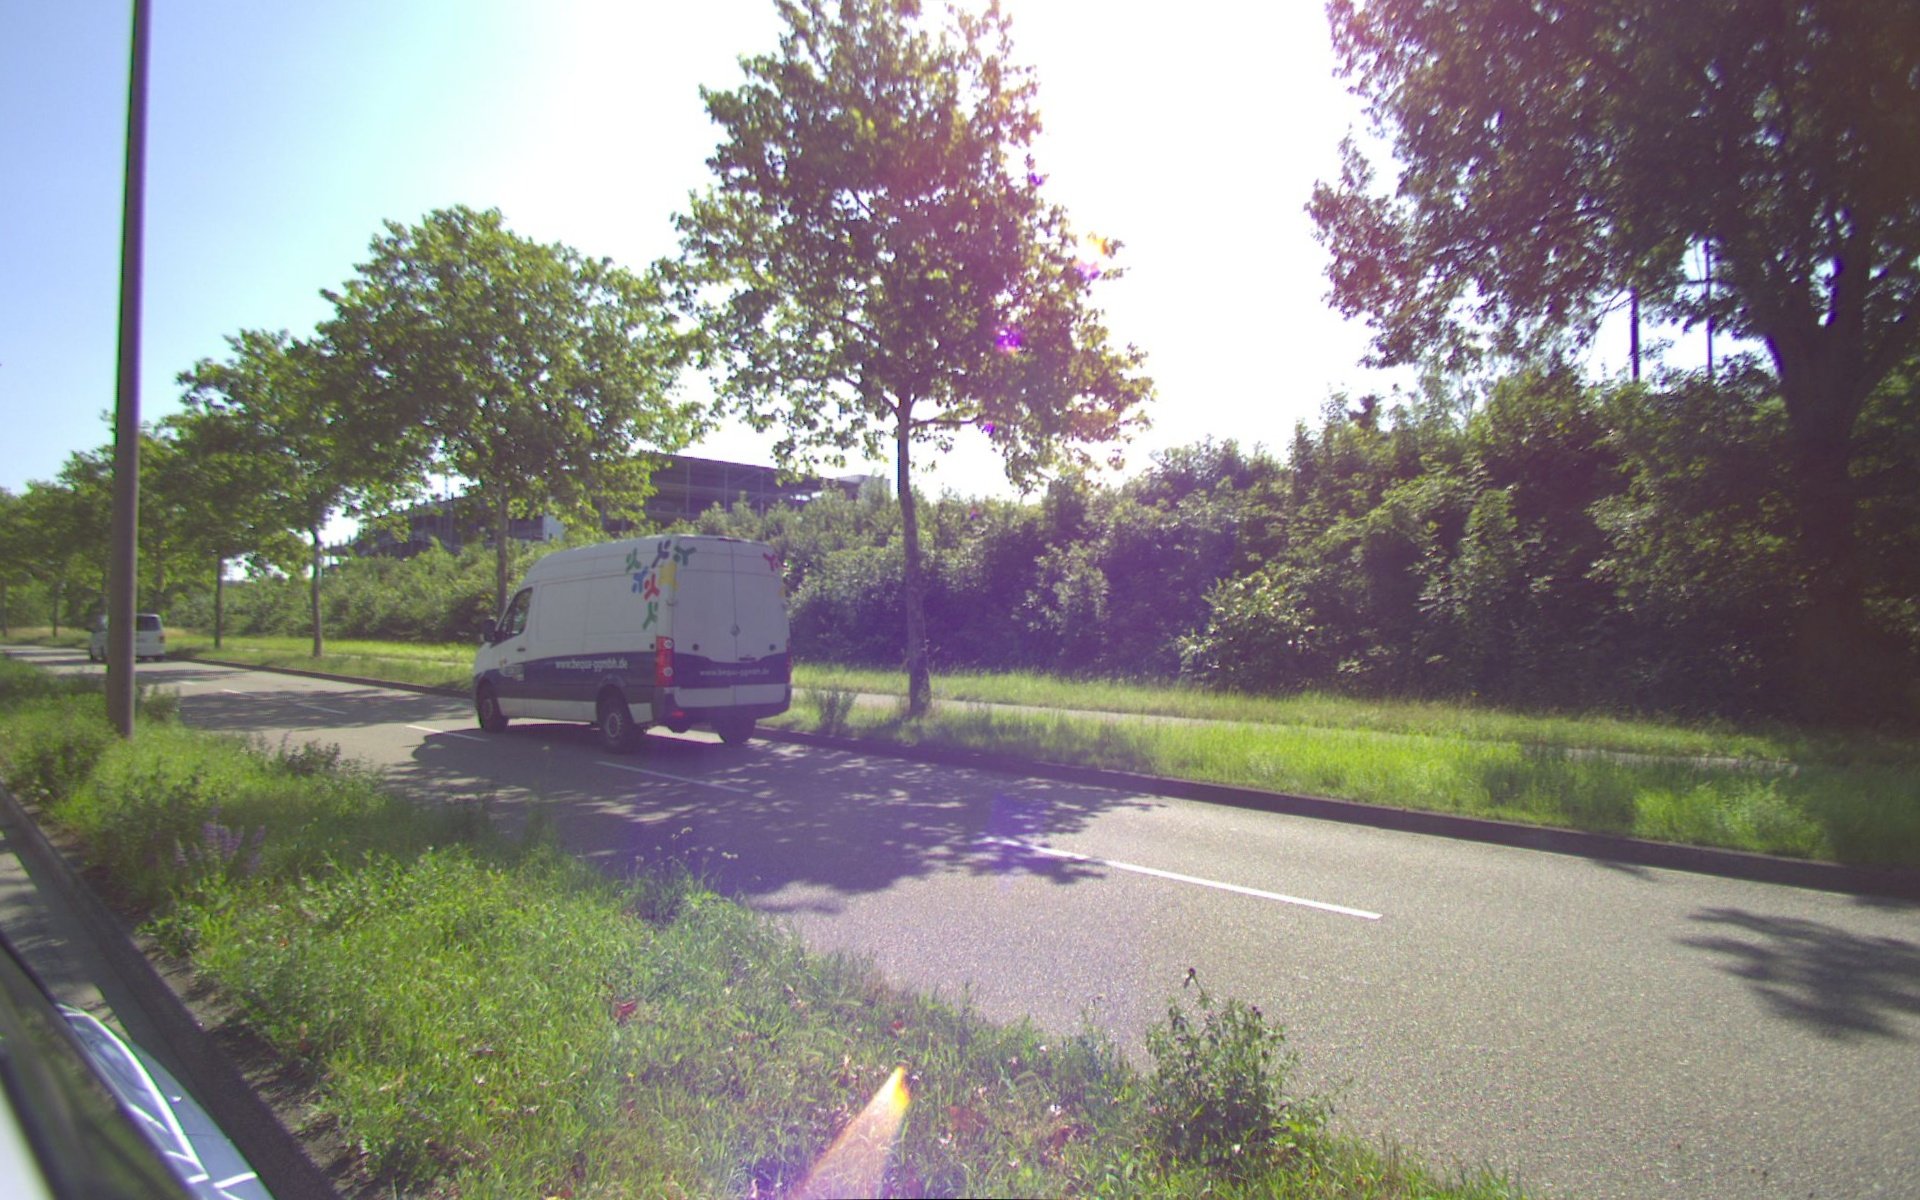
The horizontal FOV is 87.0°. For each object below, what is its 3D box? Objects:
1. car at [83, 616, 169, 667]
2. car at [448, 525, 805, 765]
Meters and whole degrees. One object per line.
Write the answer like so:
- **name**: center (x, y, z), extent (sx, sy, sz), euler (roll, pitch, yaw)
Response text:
- **car**: center (-33.124, 1.636, 40.170), extent (4.574, 1.912, 1.972), euler (-1, -4, 43)
- **car**: center (-4.798, 0.577, 13.983), extent (5.783, 2.683, 1.973), euler (-1, -3, 41)
